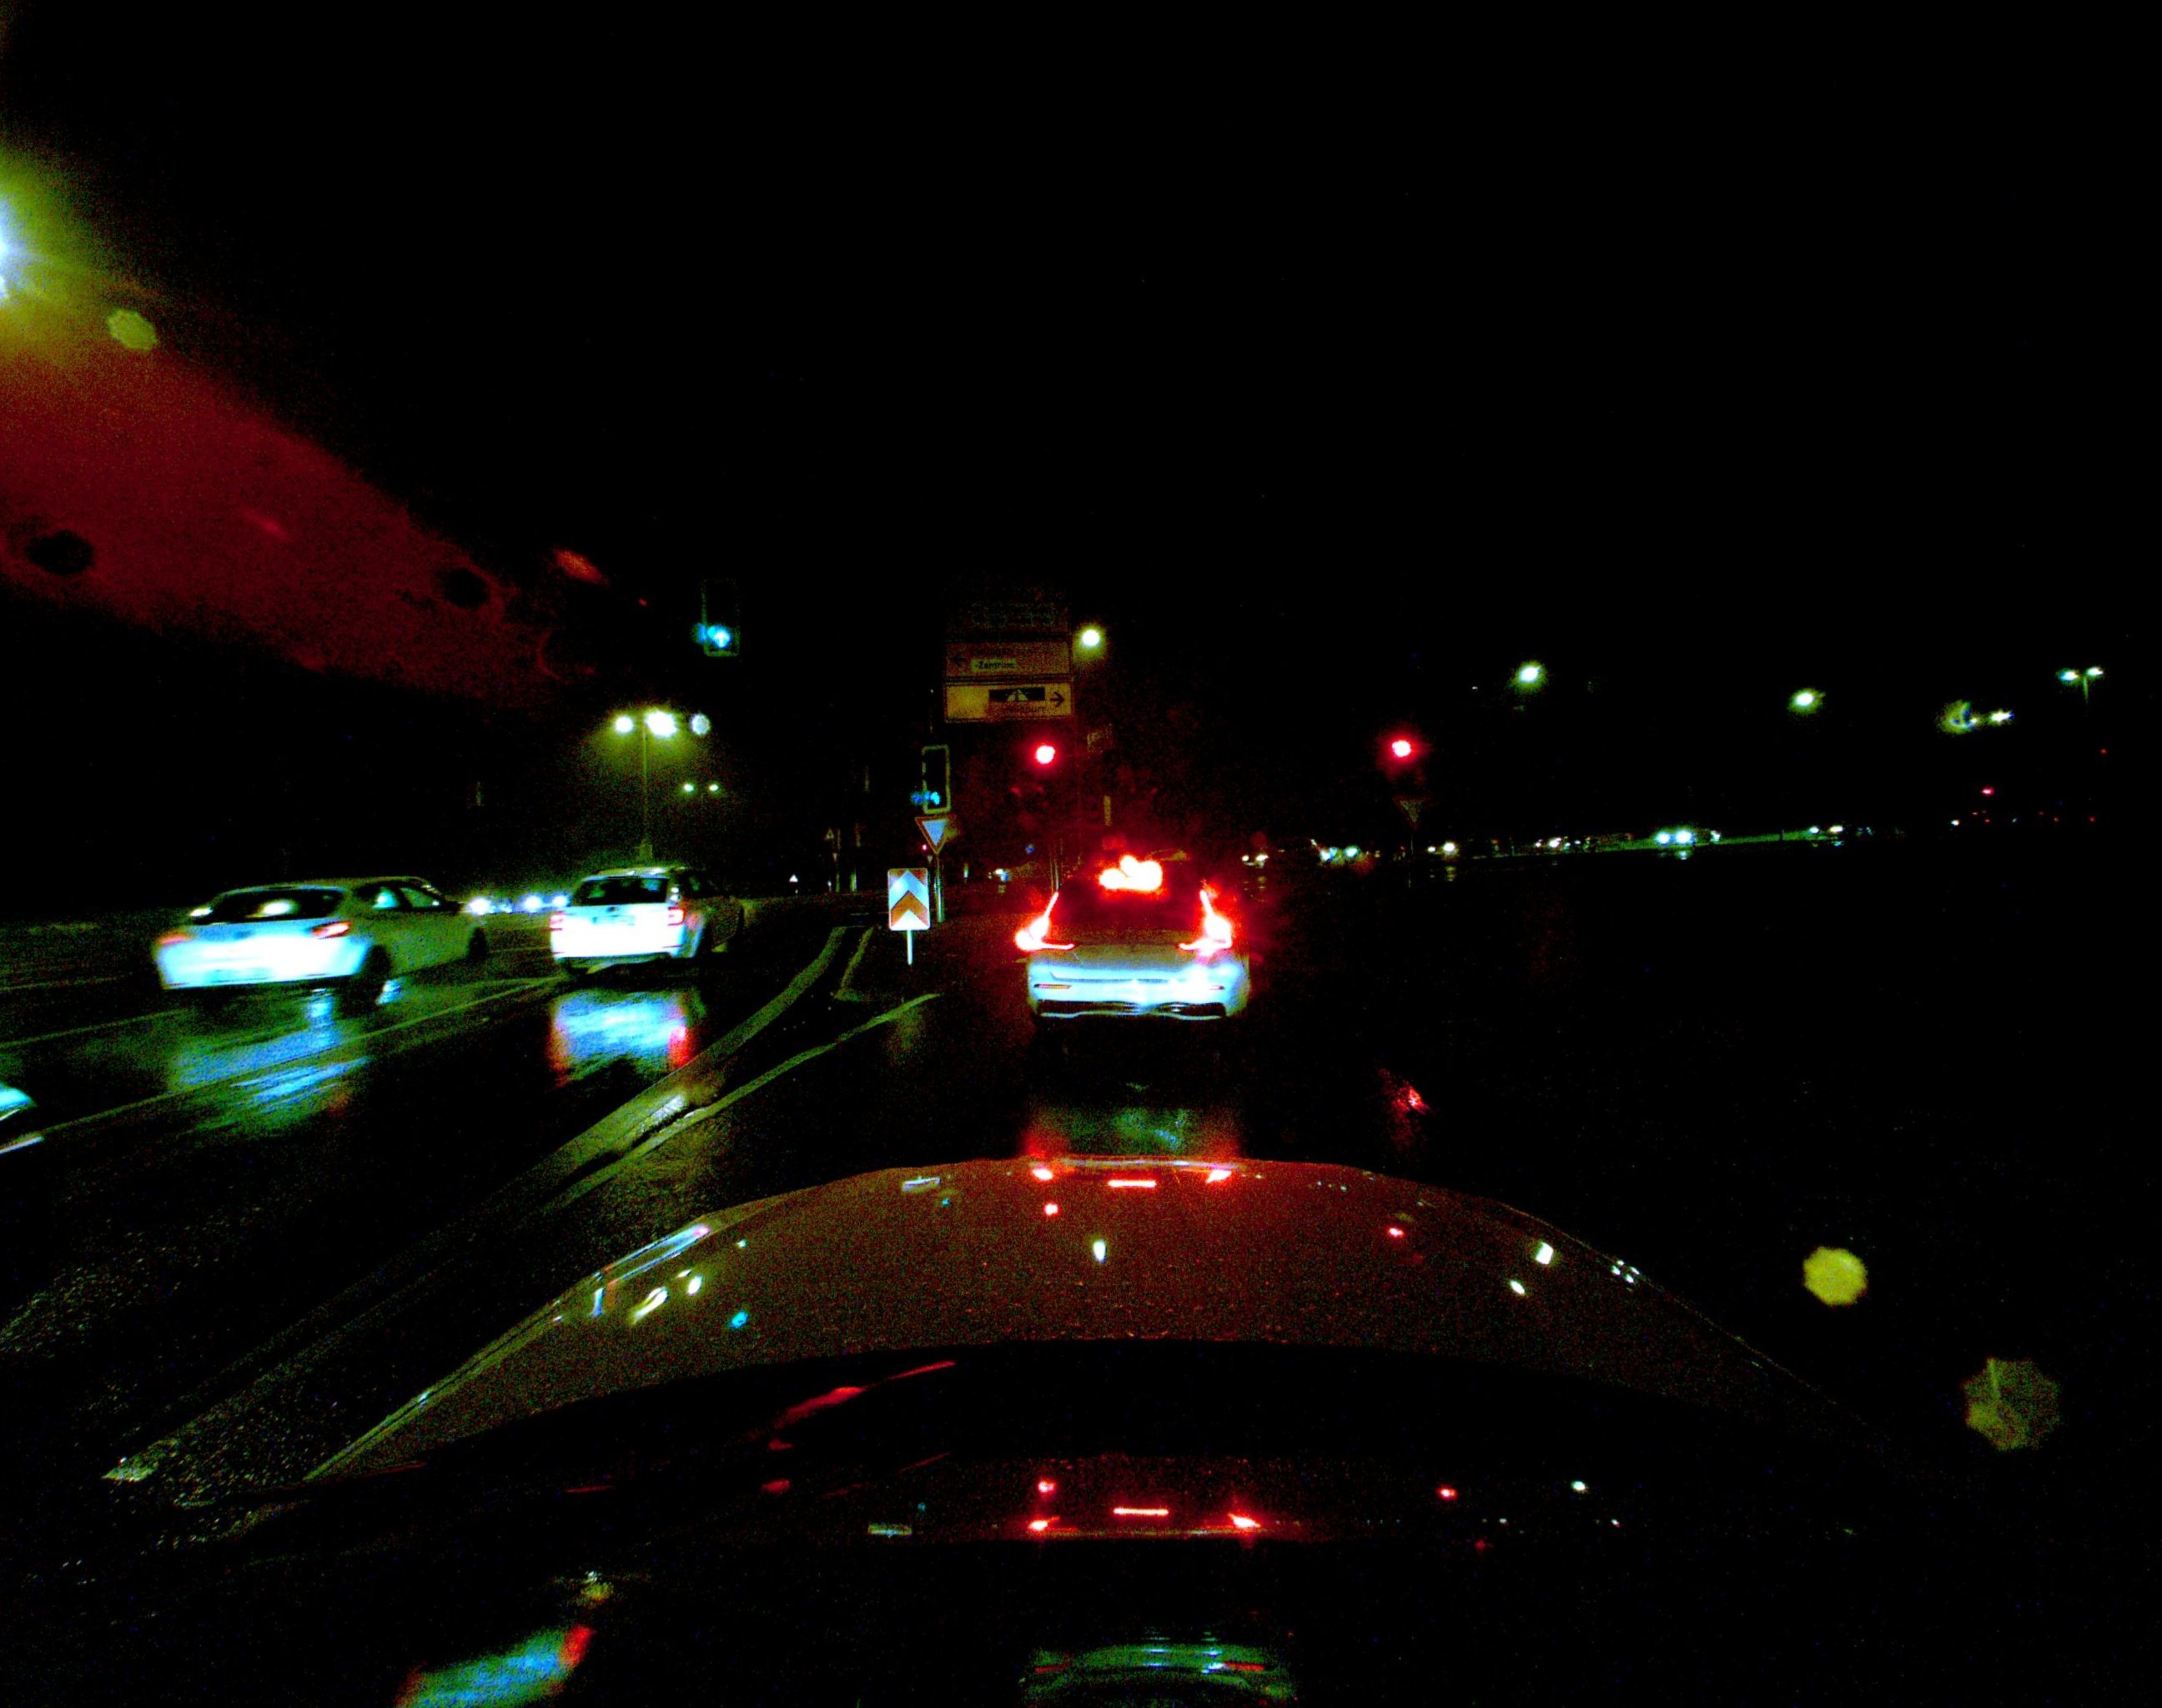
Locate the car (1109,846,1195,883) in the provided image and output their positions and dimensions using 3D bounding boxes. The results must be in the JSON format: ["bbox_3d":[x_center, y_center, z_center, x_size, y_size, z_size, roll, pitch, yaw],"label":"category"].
[{"bbox_3d":[3.809,0.555,43.705,4.292,1.848,1.751,-1,-1,-25],"label":"car"}]

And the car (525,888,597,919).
[{"bbox_3d":[-29.361,2.747,46.163,1.929,1.463,4.765,-1,-1,-14],"label":"car"}]

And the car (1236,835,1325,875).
[{"bbox_3d":[9.656,0.038,39.435,3.906,1.725,1.752,-2,0,-23],"label":"car"}]

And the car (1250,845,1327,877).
[{"bbox_3d":[12.194,0.400,47.865,4.257,1.799,1.789,-1,-1,-25],"label":"car"}]

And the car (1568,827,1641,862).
[{"bbox_3d":[42.145,-0.737,65.551,5.617,2.710,2.238,-1,-1,-24],"label":"car"}]

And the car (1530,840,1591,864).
[{"bbox_3d":[34.839,-0.150,59.167,4.131,1.714,1.751,-1,-1,-25],"label":"car"}]

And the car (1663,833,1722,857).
[{"bbox_3d":[44.551,-0.646,59.359,3.983,1.666,1.789,-1,-1,-25],"label":"car"}]

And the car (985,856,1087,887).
[{"bbox_3d":[-2.264,0.858,40.916,4.810,1.427,1.751,-1,-1,-24],"label":"car"}]

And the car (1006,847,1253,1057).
[{"bbox_3d":[0.758,0.696,8.025,1.784,1.452,4.283,-1,1,11],"label":"car"}]

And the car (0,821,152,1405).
[{"bbox_3d":[-3.768,0.804,0.361,1.827,1.653,4.468,-4,1,-8],"label":"car"}]

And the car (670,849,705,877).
[{"bbox_3d":[-31.230,0.706,64.720,1.779,2.079,3.978,0,-1,-16],"label":"car"}]

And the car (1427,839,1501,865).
[{"bbox_3d":[22.944,-0.105,48.799,4.060,1.487,1.706,-1,-1,-21],"label":"car"}]

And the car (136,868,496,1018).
[{"bbox_3d":[-9.144,0.927,10.216,1.658,1.445,3.772,-2,-1,-15],"label":"car"}]

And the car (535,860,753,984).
[{"bbox_3d":[-6.296,0.869,12.294,1.700,1.463,4.296,-2,-1,-12],"label":"car"}]

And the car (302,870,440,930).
[{"bbox_3d":[-23.558,1.446,27.256,1.907,1.720,4.430,-3,0,-20],"label":"car"}]

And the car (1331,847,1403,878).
[{"bbox_3d":[17.697,0.512,50.358,4.131,1.848,1.751,-1,-1,-25],"label":"car"}]

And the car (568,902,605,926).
[{"bbox_3d":[-42.699,5.139,70.361,1.774,1.772,3.976,-1,-1,-17],"label":"car"}]
